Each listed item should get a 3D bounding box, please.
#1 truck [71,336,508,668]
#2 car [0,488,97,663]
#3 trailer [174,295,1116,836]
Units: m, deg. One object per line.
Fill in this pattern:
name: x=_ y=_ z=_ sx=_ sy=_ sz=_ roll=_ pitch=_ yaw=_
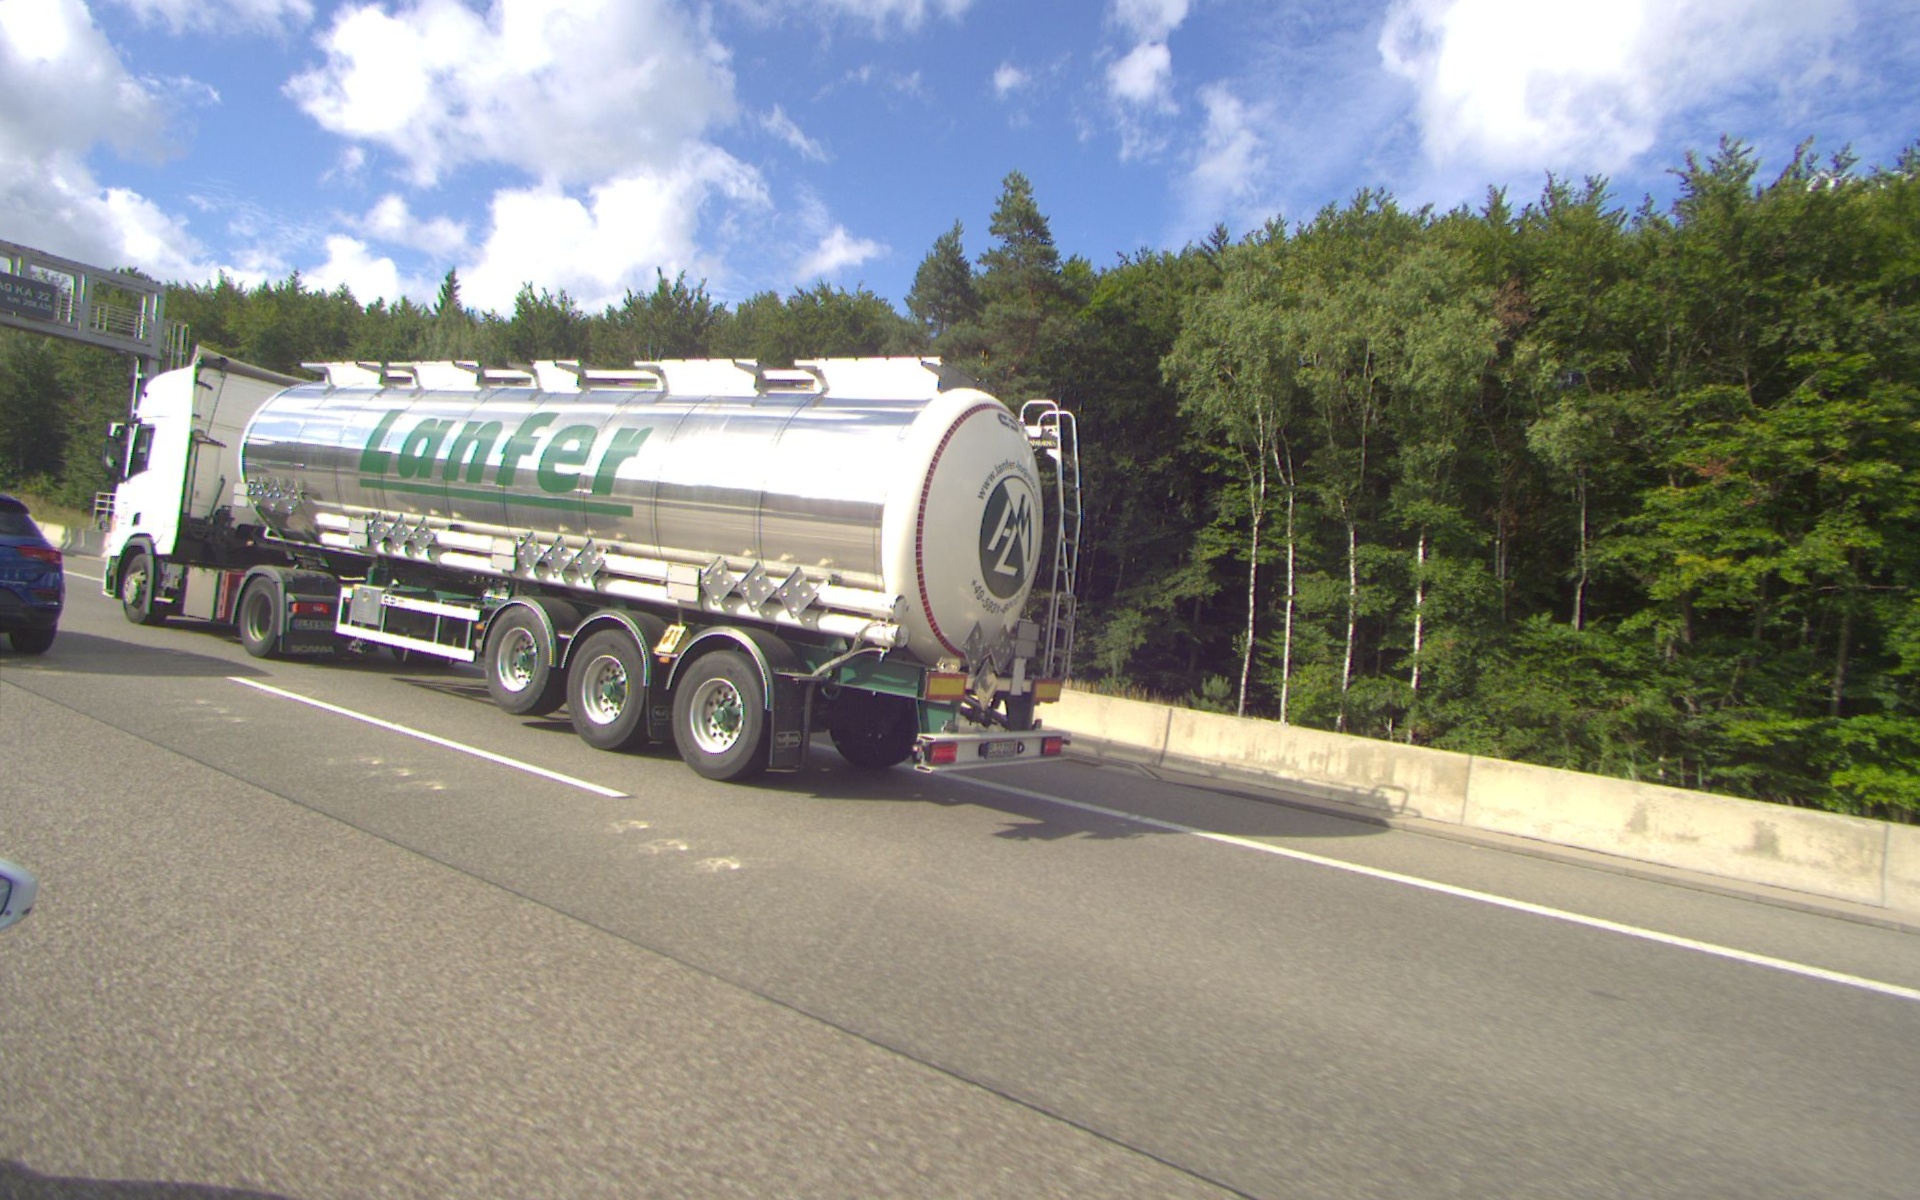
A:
truck: x=-9.768 y=-1.379 z=14.514 sx=5.980 sy=3.870 sz=2.653 roll=7 pitch=0 yaw=31
car: x=-10.654 y=-0.423 z=9.986 sx=4.383 sy=1.548 sz=1.776 roll=5 pitch=-2 yaw=31
trailer: x=-4.399 y=-0.720 z=11.213 sx=11.661 sy=3.813 sz=2.653 roll=7 pitch=0 yaw=31
